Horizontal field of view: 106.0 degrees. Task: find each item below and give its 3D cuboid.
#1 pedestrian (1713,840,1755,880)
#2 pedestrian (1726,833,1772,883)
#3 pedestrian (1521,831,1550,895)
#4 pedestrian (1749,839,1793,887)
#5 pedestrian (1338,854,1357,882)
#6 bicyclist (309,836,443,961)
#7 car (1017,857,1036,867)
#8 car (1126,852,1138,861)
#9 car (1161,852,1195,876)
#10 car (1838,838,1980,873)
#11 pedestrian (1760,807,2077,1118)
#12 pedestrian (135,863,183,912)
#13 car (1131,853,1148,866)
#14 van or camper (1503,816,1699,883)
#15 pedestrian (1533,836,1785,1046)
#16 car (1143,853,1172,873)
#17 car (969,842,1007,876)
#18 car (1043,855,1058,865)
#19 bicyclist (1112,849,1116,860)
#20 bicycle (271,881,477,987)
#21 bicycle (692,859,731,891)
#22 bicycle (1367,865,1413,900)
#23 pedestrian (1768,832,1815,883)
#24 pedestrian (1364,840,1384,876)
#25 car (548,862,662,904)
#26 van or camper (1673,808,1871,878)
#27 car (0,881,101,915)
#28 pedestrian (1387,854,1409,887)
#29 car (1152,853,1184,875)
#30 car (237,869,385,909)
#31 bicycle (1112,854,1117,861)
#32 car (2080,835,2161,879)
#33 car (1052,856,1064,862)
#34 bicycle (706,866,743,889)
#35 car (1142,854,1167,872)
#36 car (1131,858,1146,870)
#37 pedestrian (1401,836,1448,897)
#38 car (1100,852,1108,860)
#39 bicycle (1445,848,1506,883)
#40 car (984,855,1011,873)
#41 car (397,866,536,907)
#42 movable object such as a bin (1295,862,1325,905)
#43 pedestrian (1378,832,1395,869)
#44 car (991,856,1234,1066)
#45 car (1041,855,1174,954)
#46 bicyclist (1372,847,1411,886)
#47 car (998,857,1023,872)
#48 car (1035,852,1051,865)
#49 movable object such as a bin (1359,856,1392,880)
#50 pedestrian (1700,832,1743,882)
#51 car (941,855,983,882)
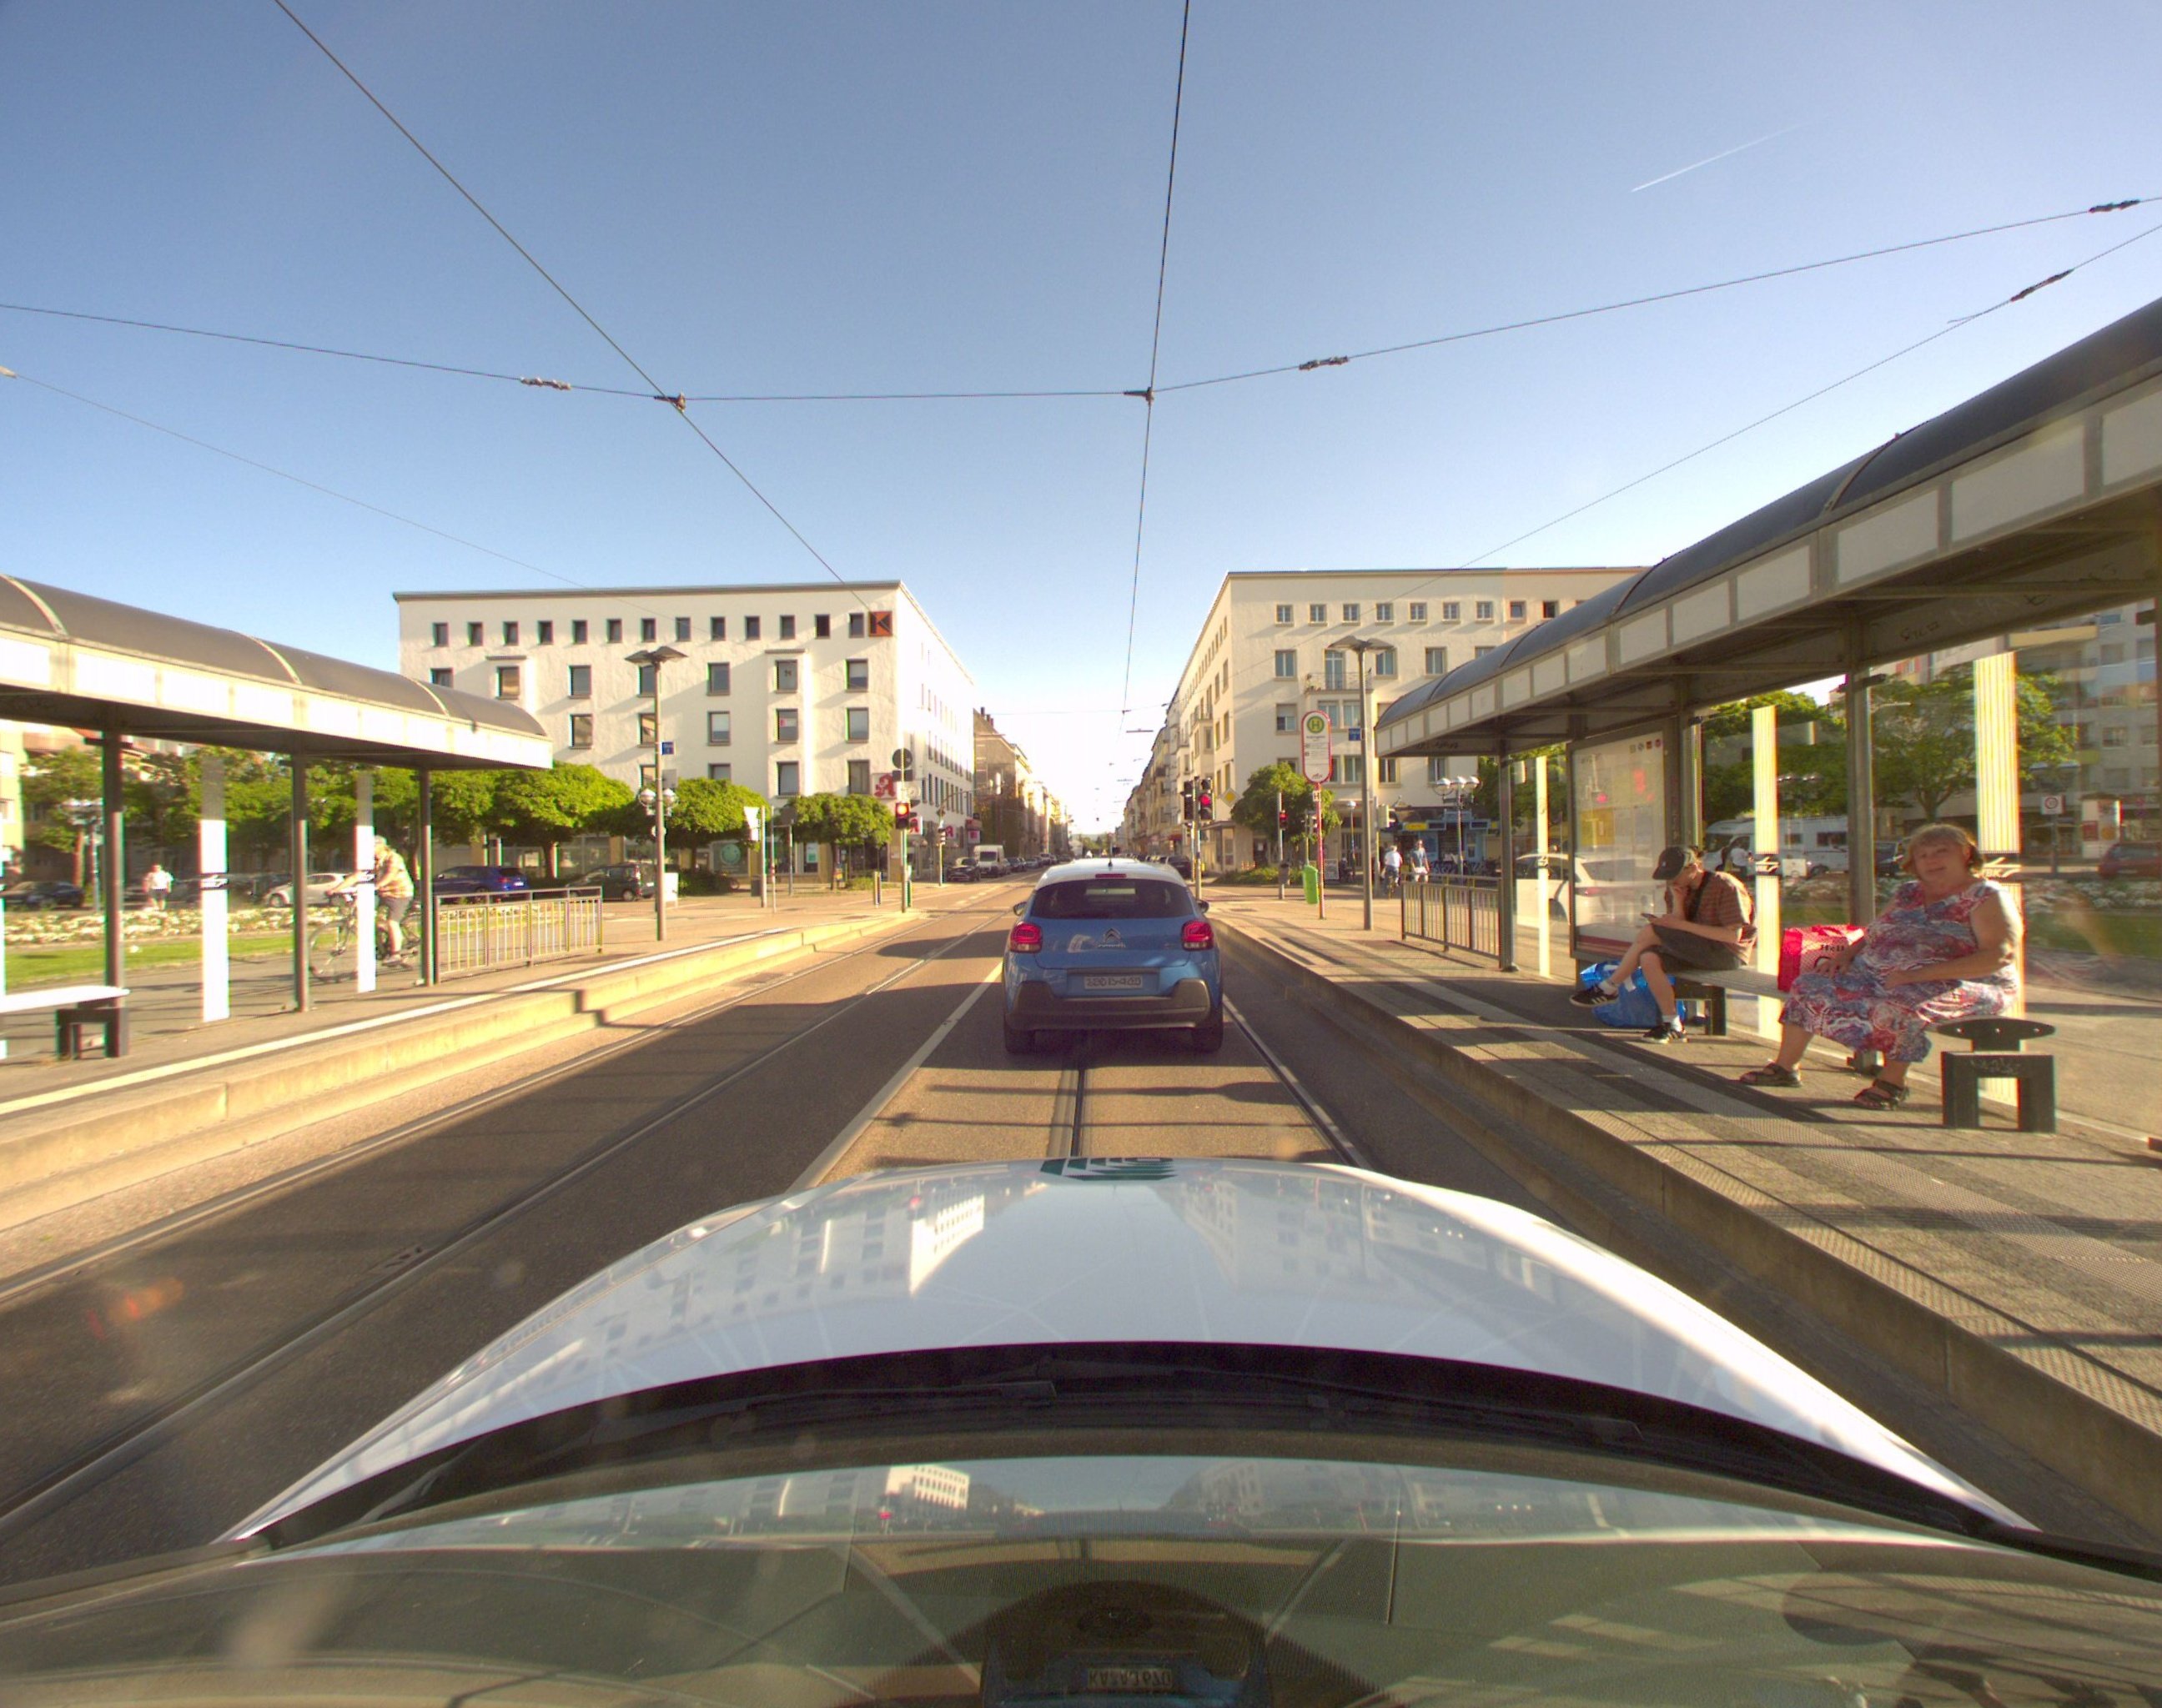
[{"bbox_3d":[21.780,0.200,27.187,0.897,1.279,0.606,-1,0,7],"label":"pedestrian"},{"bbox_3d":[21.733,0.118,26.503,0.897,1.585,0.663,-1,0,5],"label":"pedestrian"},{"bbox_3d":[12.693,0.255,22.752,0.554,1.745,0.528,0,-1,12],"label":"pedestrian"},{"bbox_3d":[23.536,0.303,27.791,0.897,1.585,0.663,-1,0,5],"label":"pedestrian"},{"bbox_3d":[12.731,0.656,38.891,0.733,1.316,0.631,-1,0,25],"label":"pedestrian"},{"bbox_3d":[-8.527,0.519,9.889,0.824,1.455,0.878,0,-1,3],"label":"bicyclist"},{"bbox_3d":[-6.923,1.011,103.593,1.987,1.325,3.923,0,-1,1],"label":"car"},{"bbox_3d":[8.334,0.451,133.281,1.986,1.464,4.002,-1,0,2],"label":"car"},{"bbox_3d":[6.202,0.640,52.401,1.902,1.464,4.002,-1,0,2],"label":"car"},{"bbox_3d":[36.601,0.074,36.123,3.959,1.511,2.007,0,-1,13],"label":"car"},{"bbox_3d":[3.930,0.475,3.879,0.855,1.334,0.623,2,-1,1],"label":"pedestrian"},{"bbox_3d":[-35.562,1.282,31.413,0.938,1.817,0.872,-1,0,13],"label":"pedestrian"},{"bbox_3d":[7.317,0.688,102.058,1.986,1.464,4.507,-1,0,2],"label":"car"},{"bbox_3d":[22.855,-0.220,36.025,7.093,2.747,2.372,-1,1,2],"label":"van or camper"},{"bbox_3d":[3.713,0.524,5.331,0.995,1.225,0.923,2,-1,1],"label":"pedestrian"},{"bbox_3d":[5.857,0.674,62.951,1.986,1.501,4.002,-1,0,2],"label":"car"},{"bbox_3d":[-7.126,0.381,62.985,2.078,2.542,6.206,0,0,1],"label":"car"},{"bbox_3d":[-5.103,1.005,136.972,1.946,1.552,3.942,0,-1,4],"label":"car"},{"bbox_3d":[6.434,0.095,157.224,0.806,2.014,0.923,0,-1,2],"label":"bicyclist"},{"bbox_3d":[-8.518,0.914,9.951,0.725,1.113,1.978,-1,0,3],"label":"bicycle"},{"bbox_3d":[-19.834,1.107,43.743,0.614,1.607,2.625,-1,0,6],"label":"bicycle"},{"bbox_3d":[9.979,0.892,26.278,0.711,1.061,2.338,0,0,38],"label":"bicycle"},{"bbox_3d":[22.884,0.110,26.238,0.897,1.585,0.663,-1,0,5],"label":"pedestrian"},{"bbox_3d":[15.196,0.184,42.201,0.781,1.839,0.679,-1,0,5],"label":"pedestrian"},{"bbox_3d":[-21.248,1.271,36.427,3.973,1.706,1.826,-1,0,1],"label":"car"},{"bbox_3d":[30.118,-0.459,35.700,6.375,2.839,2.381,-1,0,5],"label":"van or camper"},{"bbox_3d":[-52.261,2.192,41.134,1.925,1.494,4.314,0,-1,-27],"label":"car"},{"bbox_3d":[14.256,0.734,36.606,0.727,1.409,0.755,-1,3,2],"label":"pedestrian"},{"bbox_3d":[6.054,0.660,57.176,1.986,1.464,4.002,-1,0,2],"label":"car"},{"bbox_3d":[-33.518,1.500,35.526,4.591,1.606,1.855,-1,0,-1],"label":"car"},{"bbox_3d":[6.418,0.679,157.358,0.916,1.389,3.133,-1,0,2],"label":"bicycle"},{"bbox_3d":[38.645,0.072,29.049,3.983,1.486,1.995,-1,0,-7],"label":"car"},{"bbox_3d":[-4.288,0.933,154.352,1.986,1.156,4.002,-1,0,2],"label":"car"},{"bbox_3d":[-19.111,1.246,43.701,0.615,1.190,2.624,-1,0,5],"label":"bicycle"},{"bbox_3d":[6.562,0.795,72.975,1.986,1.464,4.002,-1,0,2],"label":"car"},{"bbox_3d":[7.699,1.277,109.076,1.985,1.552,4.004,-1,0,3],"label":"car"},{"bbox_3d":[11.019,0.399,26.163,0.978,1.878,1.128,-1,-1,-1],"label":"pedestrian"},{"bbox_3d":[5.518,0.517,197.231,1.986,1.772,4.002,-1,0,2],"label":"car"},{"bbox_3d":[17.716,0.525,36.570,2.376,1.531,0.726,1,0,0],"label":"bicycle"},{"bbox_3d":[-7.110,0.879,69.805,1.881,1.496,3.562,0,-1,1],"label":"car"},{"bbox_3d":[-27.188,1.424,36.168,4.591,1.662,1.999,-1,0,-1],"label":"car"},{"bbox_3d":[4.342,0.550,15.485,0.447,0.786,0.489,-1,0,4],"label":"movable object such as a bin"},{"bbox_3d":[15.595,-0.175,41.588,0.650,1.839,0.660,-1,0,5],"label":"pedestrian"},{"bbox_3d":[0.279,0.766,7.704,1.721,1.482,3.828,0,0,2],"label":"car"},{"bbox_3d":[0.471,0.763,14.579,1.977,1.464,4.817,0,0,2],"label":"car"},{"bbox_3d":[10.050,0.402,26.326,0.941,1.225,0.939,0,0,38],"label":"bicyclist"},{"bbox_3d":[-6.756,1.037,78.432,1.987,1.398,4.157,0,-1,1],"label":"car"},{"bbox_3d":[-5.871,0.714,127.157,1.997,2.014,4.694,0,-1,4],"label":"car"},{"bbox_3d":[14.450,0.663,40.042,1.194,1.153,1.218,-1,0,2],"label":"movable object such as a bin"},{"bbox_3d":[22.012,0.104,27.999,0.897,1.685,0.696,-1,0,5],"label":"pedestrian"},{"bbox_3d":[-7.657,0.920,52.752,1.987,1.569,4.403,2,-1,1],"label":"car"}]
